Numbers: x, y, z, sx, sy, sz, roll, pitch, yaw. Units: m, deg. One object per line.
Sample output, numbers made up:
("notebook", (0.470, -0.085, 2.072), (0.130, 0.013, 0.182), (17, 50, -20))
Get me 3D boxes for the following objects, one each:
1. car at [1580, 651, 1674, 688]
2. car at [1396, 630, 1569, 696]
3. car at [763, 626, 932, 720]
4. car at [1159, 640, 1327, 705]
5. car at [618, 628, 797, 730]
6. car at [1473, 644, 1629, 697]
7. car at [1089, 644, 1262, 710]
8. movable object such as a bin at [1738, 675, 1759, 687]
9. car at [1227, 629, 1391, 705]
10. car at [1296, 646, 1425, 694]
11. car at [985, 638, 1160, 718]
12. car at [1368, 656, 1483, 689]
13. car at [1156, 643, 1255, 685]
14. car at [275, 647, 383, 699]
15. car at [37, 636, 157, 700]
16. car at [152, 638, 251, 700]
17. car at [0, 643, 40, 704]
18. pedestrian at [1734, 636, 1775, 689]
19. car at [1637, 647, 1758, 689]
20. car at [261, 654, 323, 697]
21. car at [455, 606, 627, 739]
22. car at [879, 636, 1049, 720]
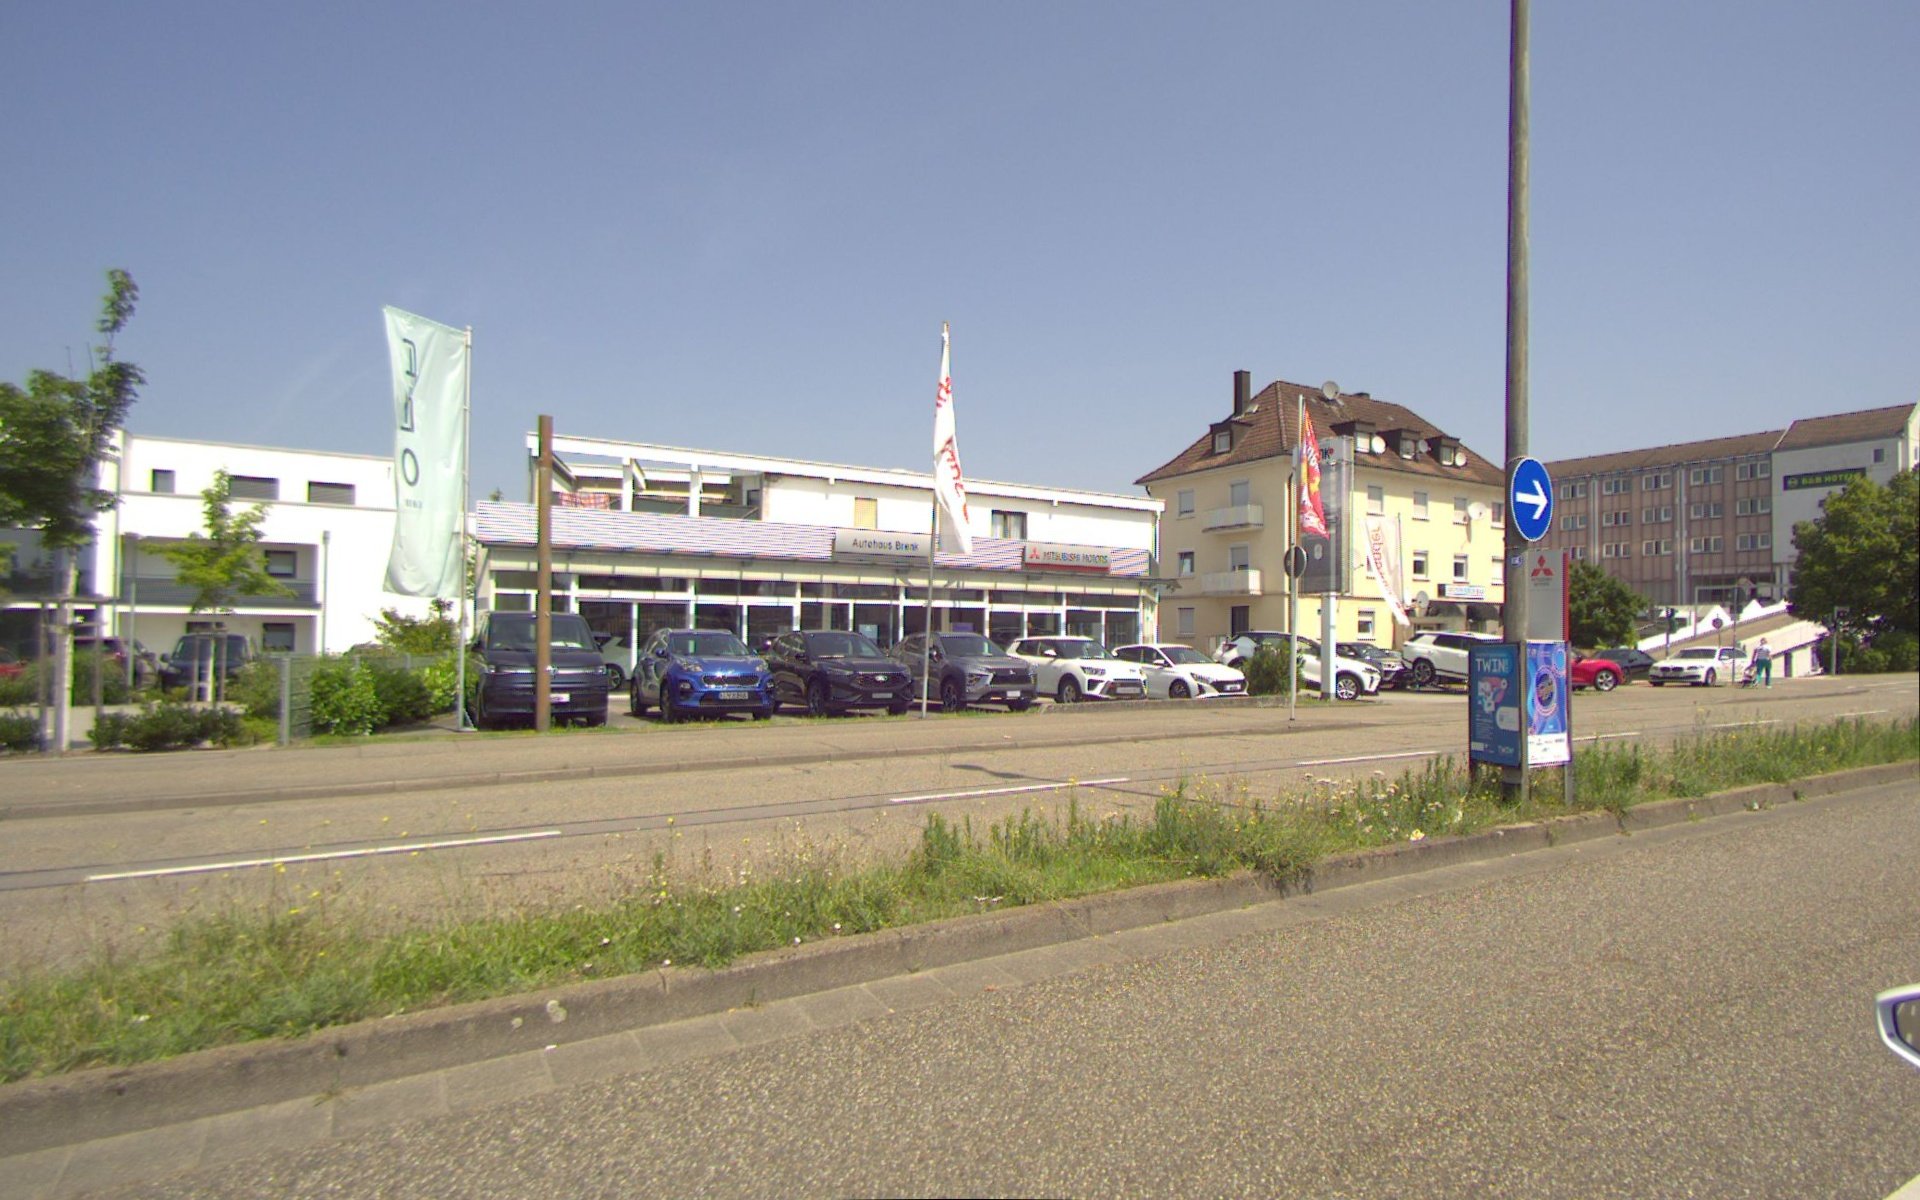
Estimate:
("car", (26.172, 2.702, 39.385), (3.959, 1.369, 1.722), (2, -3, -34))
("car", (16.137, 1.887, 31.263), (1.741, 1.732, 4.521), (2, 0, -32))
("car", (-2.308, 1.427, 19.613), (1.741, 1.629, 3.967), (2, -5, -32))
("car", (7.040, 1.771, 25.371), (1.741, 1.486, 3.965), (2, -3, -32))
("car", (-4.697, 1.343, 18.312), (2.066, 1.629, 3.966), (1, -2, -32))
("car", (19.667, 2.331, 33.570), (4.093, 1.664, 1.841), (0, -2, 7))
("car", (5.058, 1.766, 24.060), (1.840, 1.413, 3.965), (2, -3, -32))
("movable object such as a bin", (26.555, 2.731, 33.827), (0.500, 0.377, 0.414), (2, -2, -30))
("car", (9.343, 1.747, 26.885), (3.923, 1.645, 1.759), (4, -1, 24))
("car", (14.107, 2.431, 35.565), (1.844, 1.550, 3.967), (2, -3, -31))
("car", (2.451, 1.682, 22.708), (1.904, 1.629, 3.965), (2, -3, -32))
("car", (18.536, 2.886, 40.035), (3.928, 1.268, 1.648), (1, -2, -10))
("car", (10.334, 2.669, 42.575), (1.844, 1.636, 3.967), (2, -3, -31))
("car", (-16.678, 1.896, 26.708), (1.701, 1.240, 3.524), (1, -2, -20))
("car", (-21.592, 1.646, 25.280), (1.860, 1.472, 3.961), (2, -3, -35))
("car", (-19.616, 1.726, 26.113), (1.860, 1.472, 3.961), (2, -3, -35))
("car", (-23.460, 1.707, 23.803), (1.828, 1.331, 3.963), (2, -2, -34))
("pedestrian", (26.920, 2.095, 34.033), (1.021, 1.770, 0.737), (1, -2, -29))
("car", (27.104, 2.463, 36.902), (4.700, 1.429, 1.769), (2, -2, -29))
("car", (-25.727, 2.852, 38.637), (1.860, 1.472, 3.961), (2, -3, -35))
("car", (-7.051, 1.133, 16.676), (1.978, 1.906, 3.965), (2, -3, -32))
("car", (-0.011, 1.567, 21.181), (1.741, 1.588, 3.965), (2, -3, -32))
